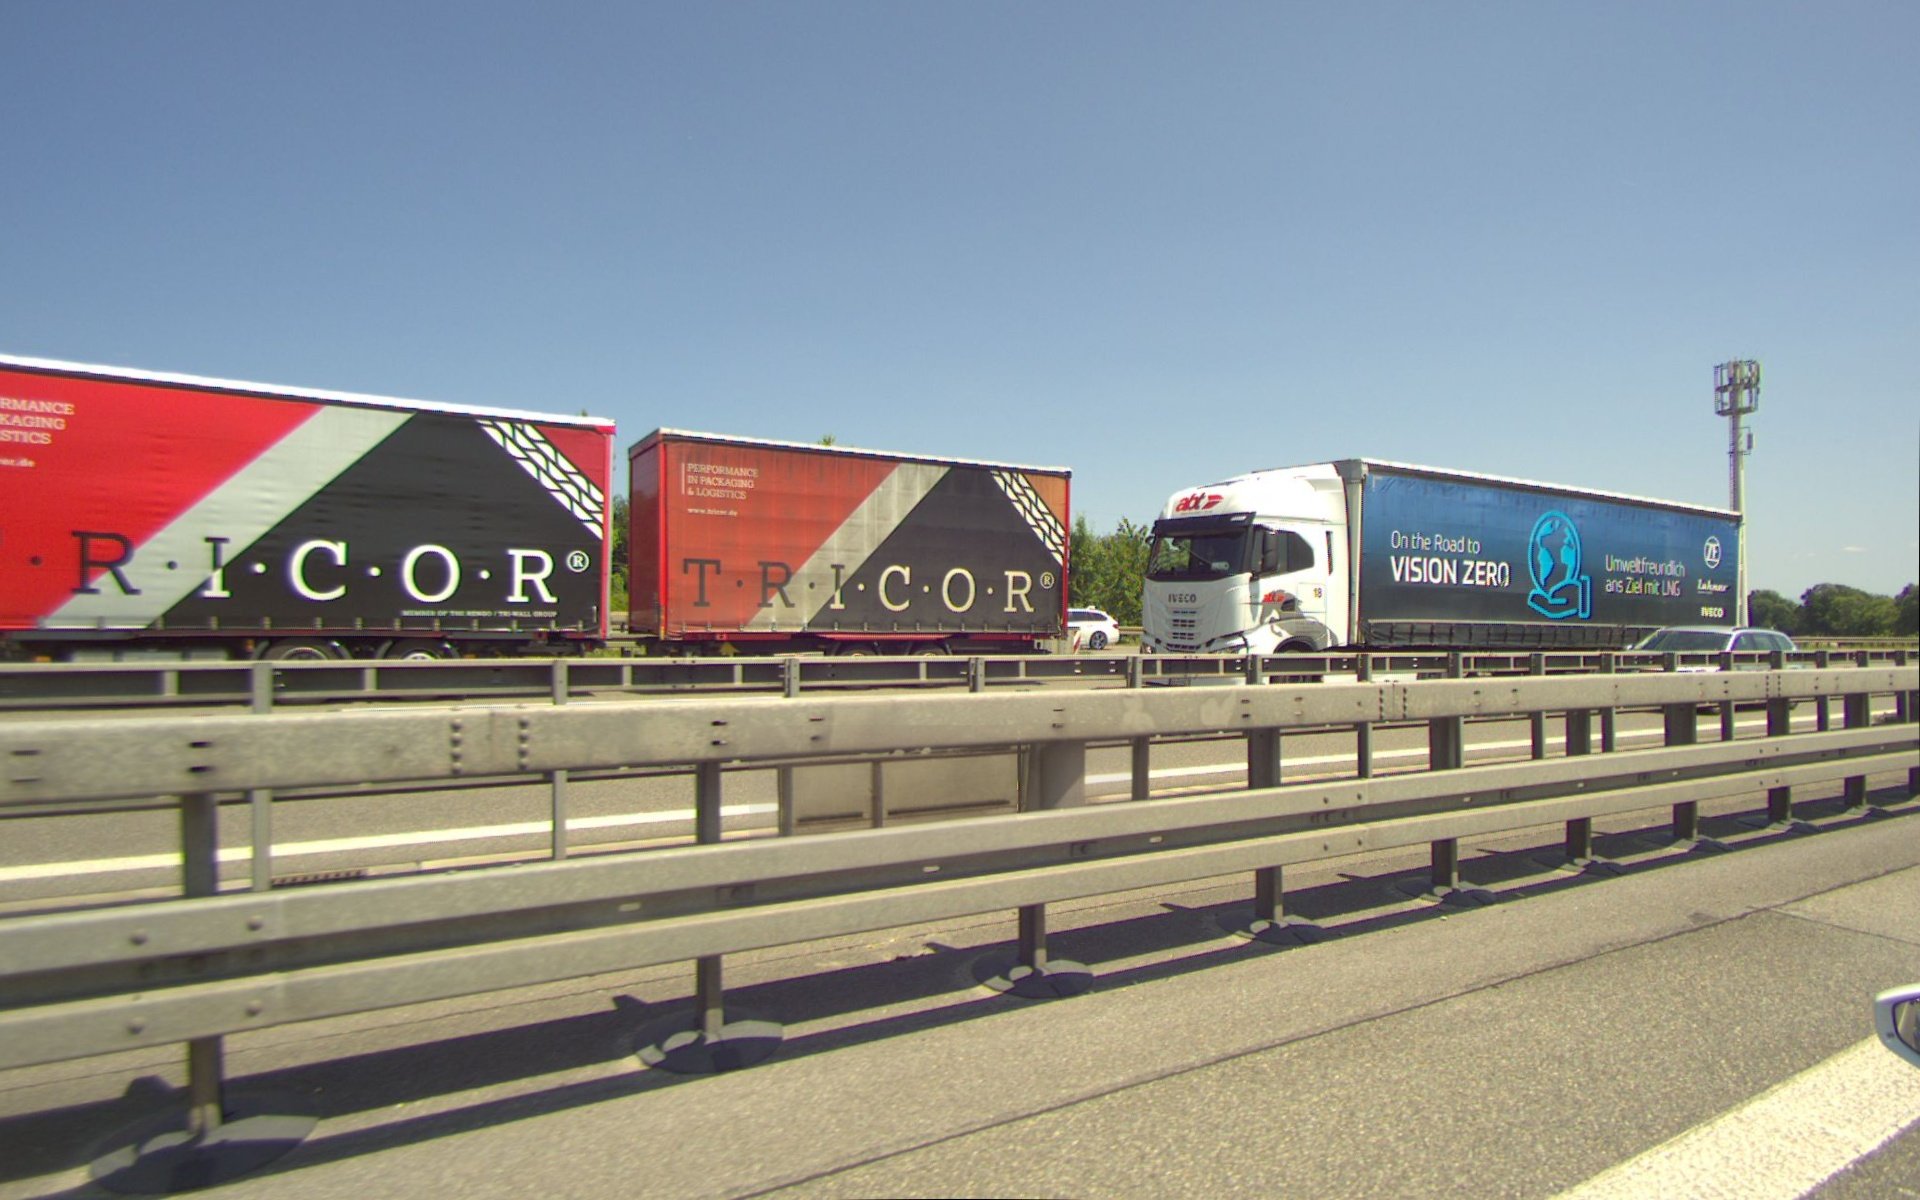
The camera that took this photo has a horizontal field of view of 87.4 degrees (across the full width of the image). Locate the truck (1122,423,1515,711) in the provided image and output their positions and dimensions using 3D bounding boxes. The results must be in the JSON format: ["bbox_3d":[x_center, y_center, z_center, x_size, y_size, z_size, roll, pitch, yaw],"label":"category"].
[{"bbox_3d":[6.616,-0.429,18.314,6.832,4.402,2.915,2,0,-29],"label":"truck"}]

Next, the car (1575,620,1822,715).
[{"bbox_3d":[13.325,1.149,18.069,4.581,1.483,1.859,1,0,-29],"label":"car"}]

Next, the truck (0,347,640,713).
[{"bbox_3d":[-9.864,-0.760,13.552,10.225,4.170,2.570,1,0,-30],"label":"truck"}]

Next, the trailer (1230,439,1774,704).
[{"bbox_3d":[12.220,-0.300,21.514,14.444,4.400,2.932,2,0,-29],"label":"trailer"}]

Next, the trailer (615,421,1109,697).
[{"bbox_3d":[-1.547,-0.519,18.332,8.610,4.160,2.548,2,0,-29],"label":"trailer"}]

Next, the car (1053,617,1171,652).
[{"bbox_3d":[5.676,1.281,37.476,4.069,1.240,1.675,1,0,-22],"label":"car"}]
